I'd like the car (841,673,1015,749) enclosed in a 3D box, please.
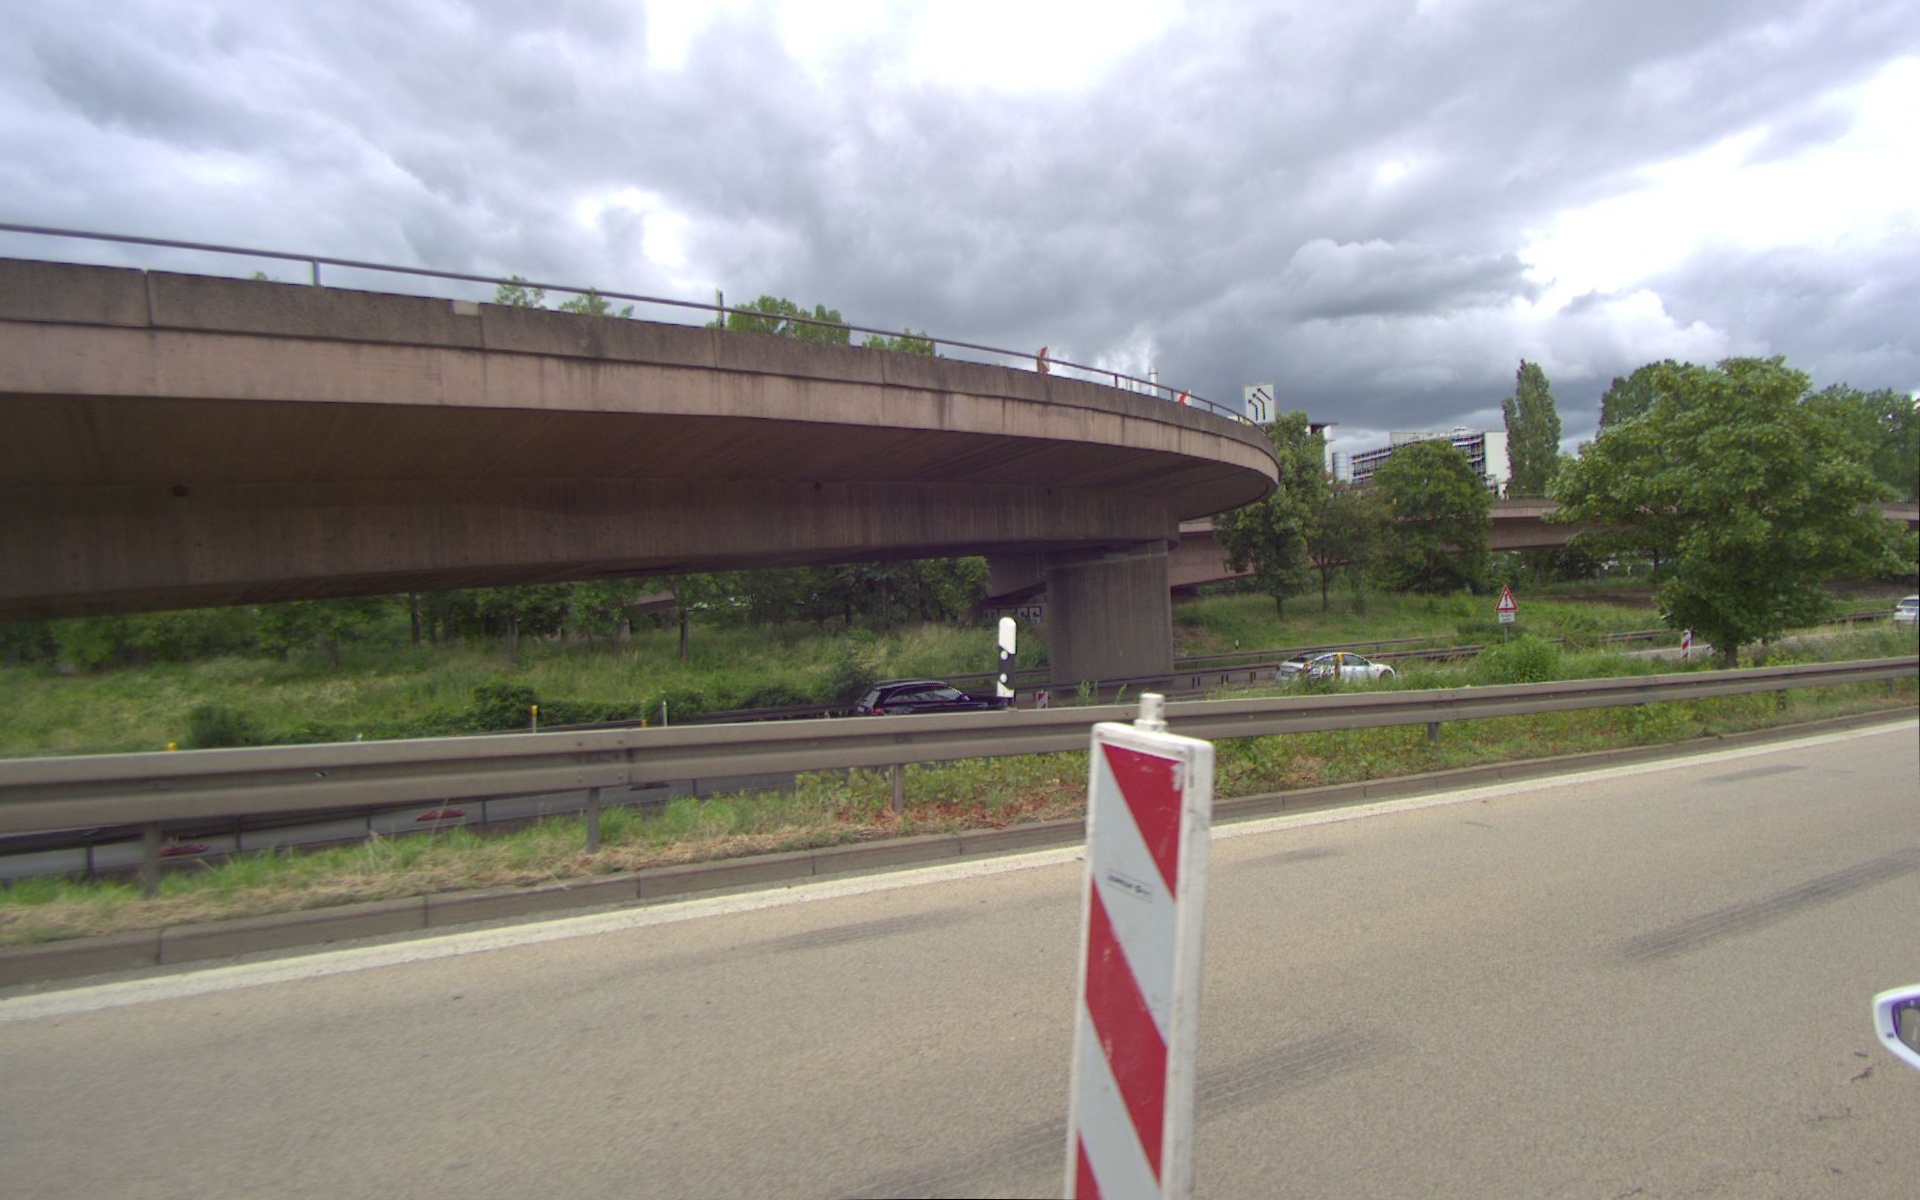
[{"bbox_3d":[-0.908,3.100,28.590,4.511,1.636,2.034,-2,0,-22],"label":"car"}]

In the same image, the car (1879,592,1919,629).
[{"bbox_3d":[48.905,0.519,50.801,4.041,1.735,1.990,-2,0,-22],"label":"car"}]

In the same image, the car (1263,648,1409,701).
[{"bbox_3d":[13.275,2.578,35.451,4.730,1.475,1.990,-2,0,-22],"label":"car"}]
